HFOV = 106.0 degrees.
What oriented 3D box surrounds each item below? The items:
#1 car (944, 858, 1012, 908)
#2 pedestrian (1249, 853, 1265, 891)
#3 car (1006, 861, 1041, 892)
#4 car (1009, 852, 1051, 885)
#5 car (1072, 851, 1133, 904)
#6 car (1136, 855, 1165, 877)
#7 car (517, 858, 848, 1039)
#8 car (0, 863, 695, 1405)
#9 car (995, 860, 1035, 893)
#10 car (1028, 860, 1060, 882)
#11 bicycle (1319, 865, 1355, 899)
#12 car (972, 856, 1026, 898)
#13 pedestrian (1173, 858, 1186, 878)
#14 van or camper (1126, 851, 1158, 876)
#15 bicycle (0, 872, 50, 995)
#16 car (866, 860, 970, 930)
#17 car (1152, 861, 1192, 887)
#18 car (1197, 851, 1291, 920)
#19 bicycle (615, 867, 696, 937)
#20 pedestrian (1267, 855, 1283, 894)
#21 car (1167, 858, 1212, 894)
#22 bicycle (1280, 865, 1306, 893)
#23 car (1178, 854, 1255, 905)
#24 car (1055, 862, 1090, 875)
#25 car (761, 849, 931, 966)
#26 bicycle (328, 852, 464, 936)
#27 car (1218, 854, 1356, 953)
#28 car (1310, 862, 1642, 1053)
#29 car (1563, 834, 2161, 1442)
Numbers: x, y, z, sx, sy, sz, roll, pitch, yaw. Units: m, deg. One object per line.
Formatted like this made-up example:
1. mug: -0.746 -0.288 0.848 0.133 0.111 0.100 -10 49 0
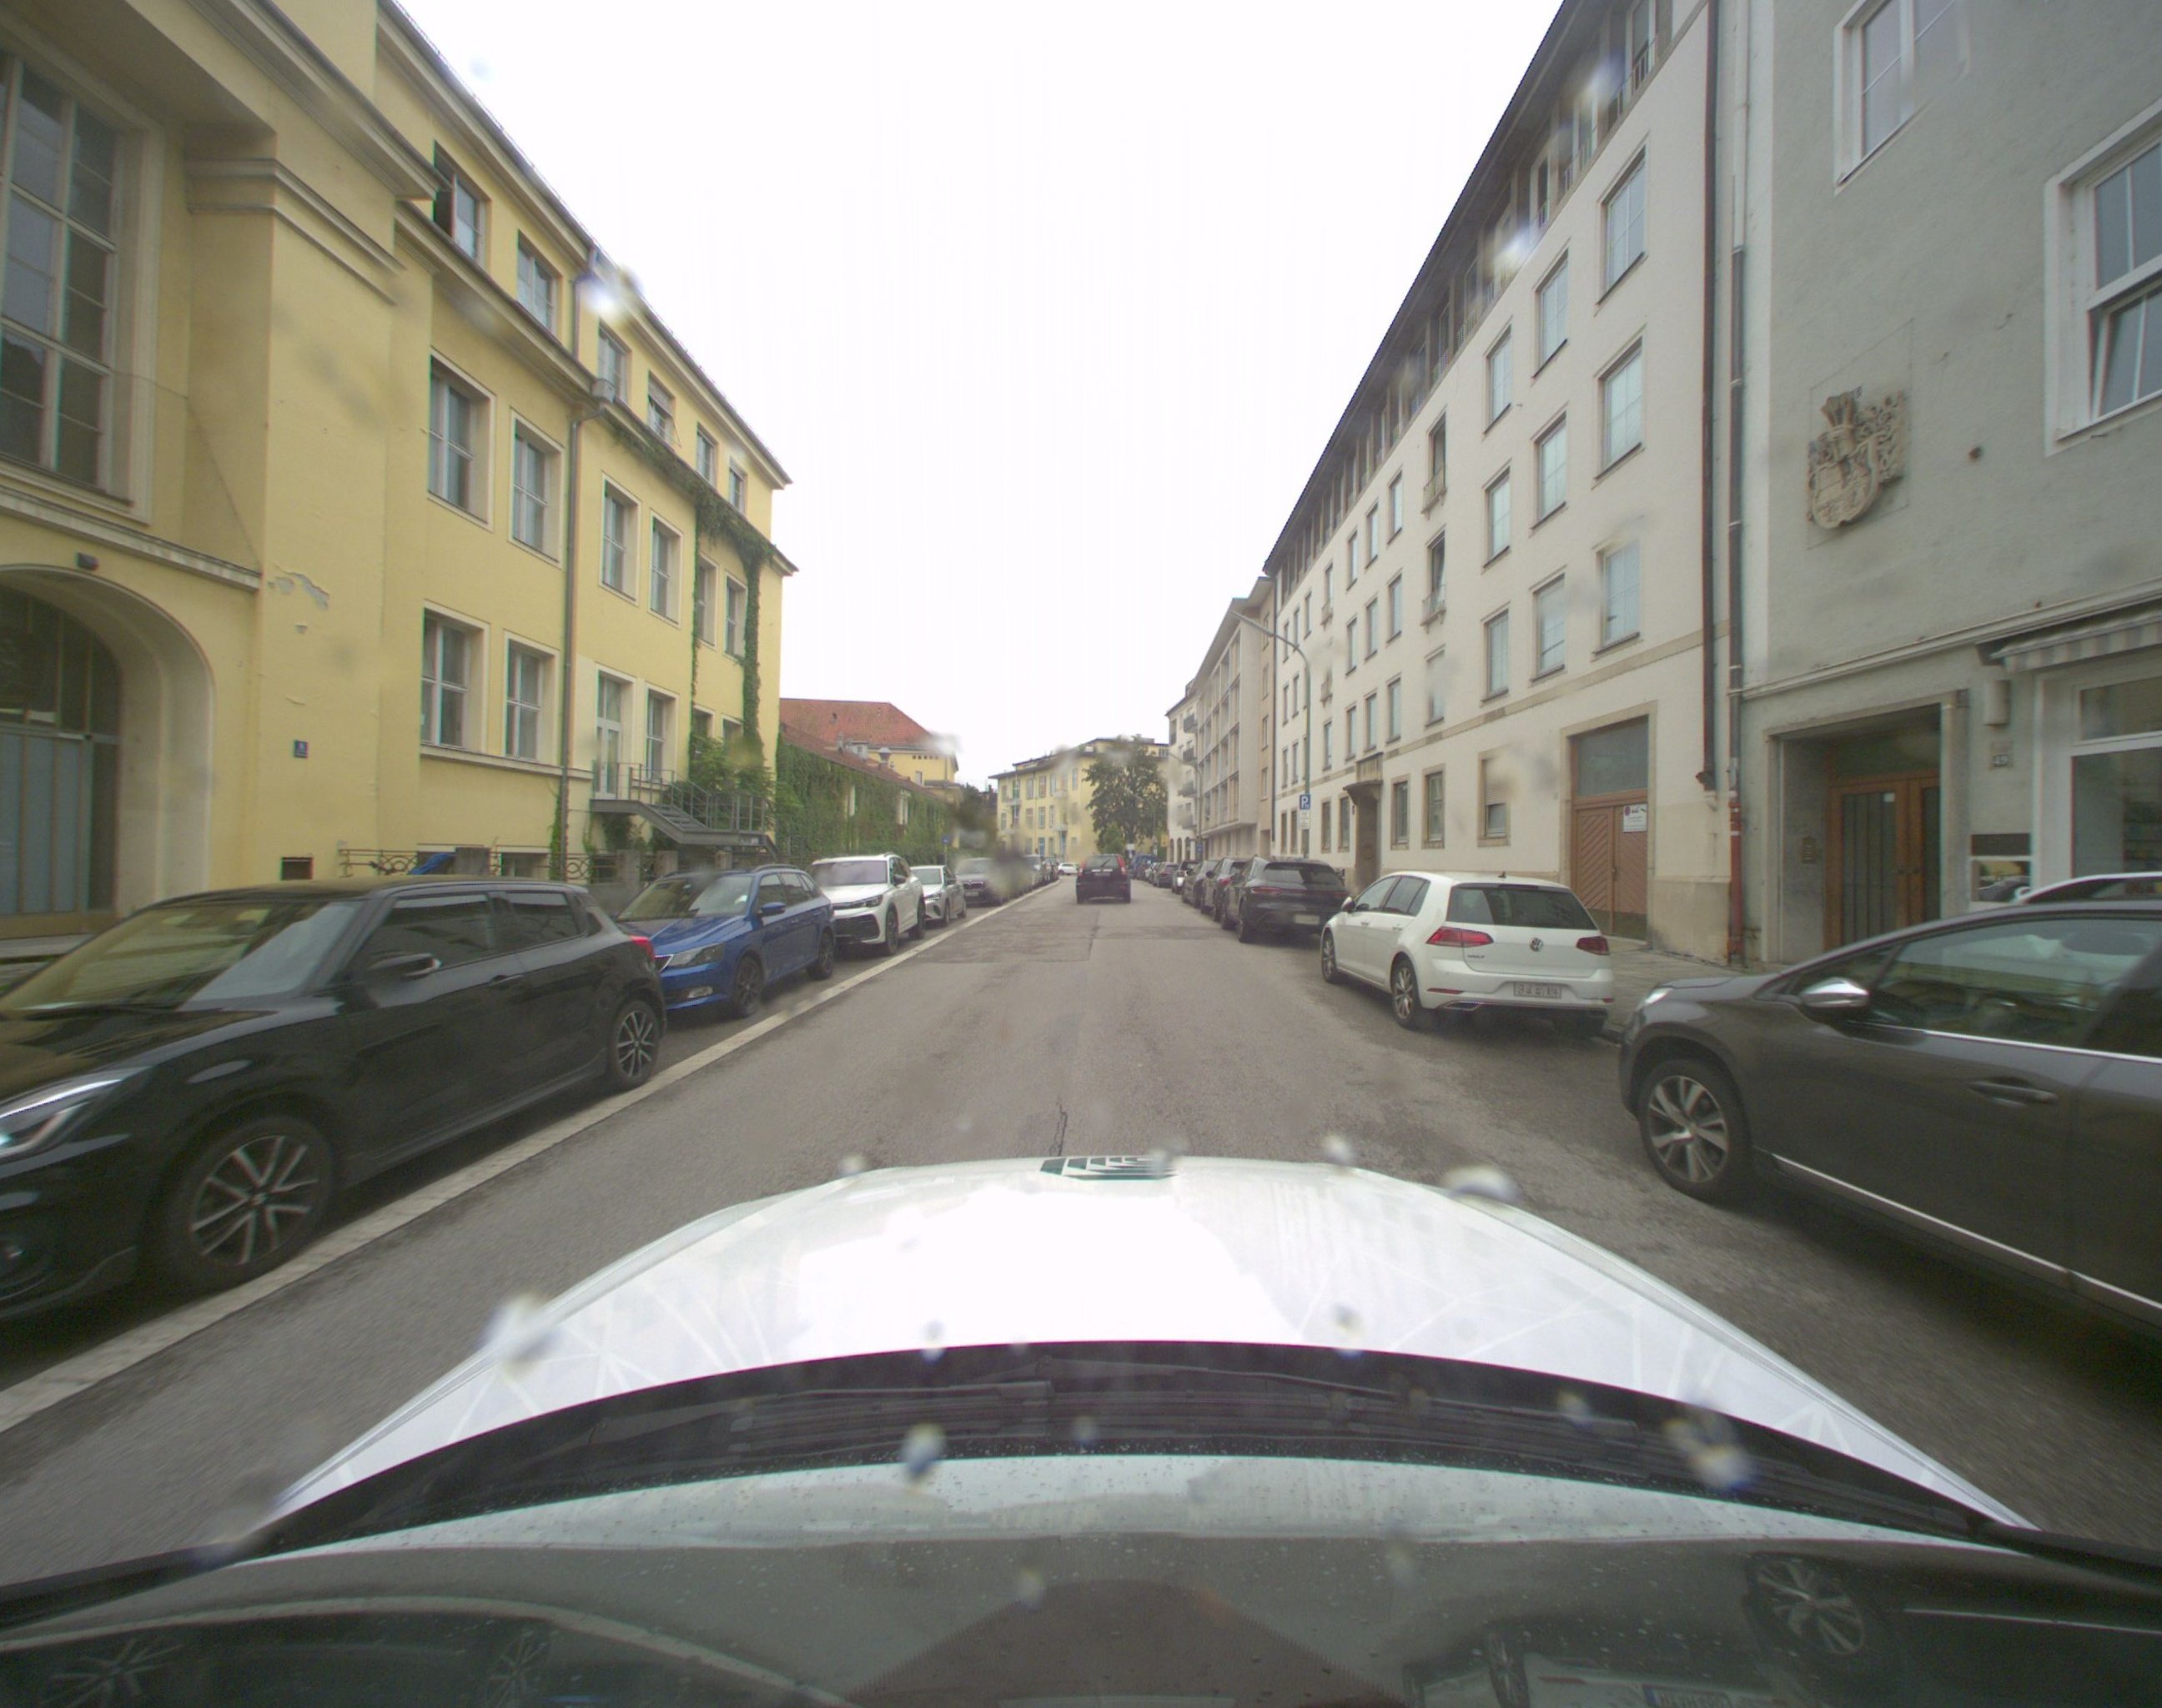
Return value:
1. car: -3.393 0.912 27.487 1.776 1.538 4.194 1 0 0
2. pedestrian: 7.734 0.787 35.798 0.594 1.654 0.631 0 0 1
3. car: -2.995 1.167 43.195 1.573 1.492 3.729 1 0 0
4. car: -2.956 0.818 48.504 1.985 1.875 4.761 0 0 2
5. car: 0.806 0.764 28.566 1.987 1.694 4.383 0 0 3
6. car: 5.839 0.975 68.540 1.958 1.816 4.934 0 0 -1
7. car: -4.042 0.836 9.091 1.674 1.505 3.973 -2 0 0
8. car: -3.868 0.843 4.248 1.674 1.495 3.987 -2 0 1
9. car: -3.028 1.014 38.158 1.573 1.455 3.903 0 0 0
10. car: -2.437 1.104 54.406 1.694 1.423 4.427 0 0 2
11. bicycle: 8.809 0.952 28.107 0.656 1.126 2.029 0 -1 2
12. car: -3.281 0.889 33.163 1.776 1.538 4.148 1 0 0
13. pedestrian: 8.089 1.150 67.134 0.895 1.688 1.319 0 -1 0
14. van or camper: 5.518 0.847 74.212 2.056 2.231 5.430 0 0 -4
15. bicycle: -10.193 0.673 7.191 1.551 1.051 0.439 2 -1 0
16. car: -3.787 0.902 19.564 1.675 1.426 3.894 -2 0 0
17. car: 5.216 1.128 47.119 1.790 1.420 4.482 0 0 0
18. car: 4.141 0.748 21.279 1.771 1.584 4.274 -1 0 2
19. bicycle: -7.924 0.865 15.236 0.574 1.189 1.562 3 -1 2
20. pedestrian: 7.981 0.824 33.521 0.529 1.585 0.560 0 0 1
21. car: 4.887 0.966 37.023 1.665 1.535 3.883 0 0 2
22. bicycle: 9.100 1.071 35.012 0.656 1.163 2.029 0 -1 2
23. car: 4.313 0.760 26.638 1.849 1.544 4.817 0 0 1
24. car: -1.099 1.859 105.726 3.950 1.618 2.012 0 0 28
25. car: -3.814 0.777 14.015 1.675 1.634 4.354 -2 0 -1
26. bicycle: -10.695 0.617 12.748 1.551 1.189 0.578 3 -1 0
27. car: 3.815 0.842 15.812 1.771 1.584 4.334 2 0 3
28. car: 3.827 0.871 8.749 1.685 1.464 4.085 3 0 2
29. car: 3.677 0.782 2.646 1.687 1.583 4.080 3 0 -2
